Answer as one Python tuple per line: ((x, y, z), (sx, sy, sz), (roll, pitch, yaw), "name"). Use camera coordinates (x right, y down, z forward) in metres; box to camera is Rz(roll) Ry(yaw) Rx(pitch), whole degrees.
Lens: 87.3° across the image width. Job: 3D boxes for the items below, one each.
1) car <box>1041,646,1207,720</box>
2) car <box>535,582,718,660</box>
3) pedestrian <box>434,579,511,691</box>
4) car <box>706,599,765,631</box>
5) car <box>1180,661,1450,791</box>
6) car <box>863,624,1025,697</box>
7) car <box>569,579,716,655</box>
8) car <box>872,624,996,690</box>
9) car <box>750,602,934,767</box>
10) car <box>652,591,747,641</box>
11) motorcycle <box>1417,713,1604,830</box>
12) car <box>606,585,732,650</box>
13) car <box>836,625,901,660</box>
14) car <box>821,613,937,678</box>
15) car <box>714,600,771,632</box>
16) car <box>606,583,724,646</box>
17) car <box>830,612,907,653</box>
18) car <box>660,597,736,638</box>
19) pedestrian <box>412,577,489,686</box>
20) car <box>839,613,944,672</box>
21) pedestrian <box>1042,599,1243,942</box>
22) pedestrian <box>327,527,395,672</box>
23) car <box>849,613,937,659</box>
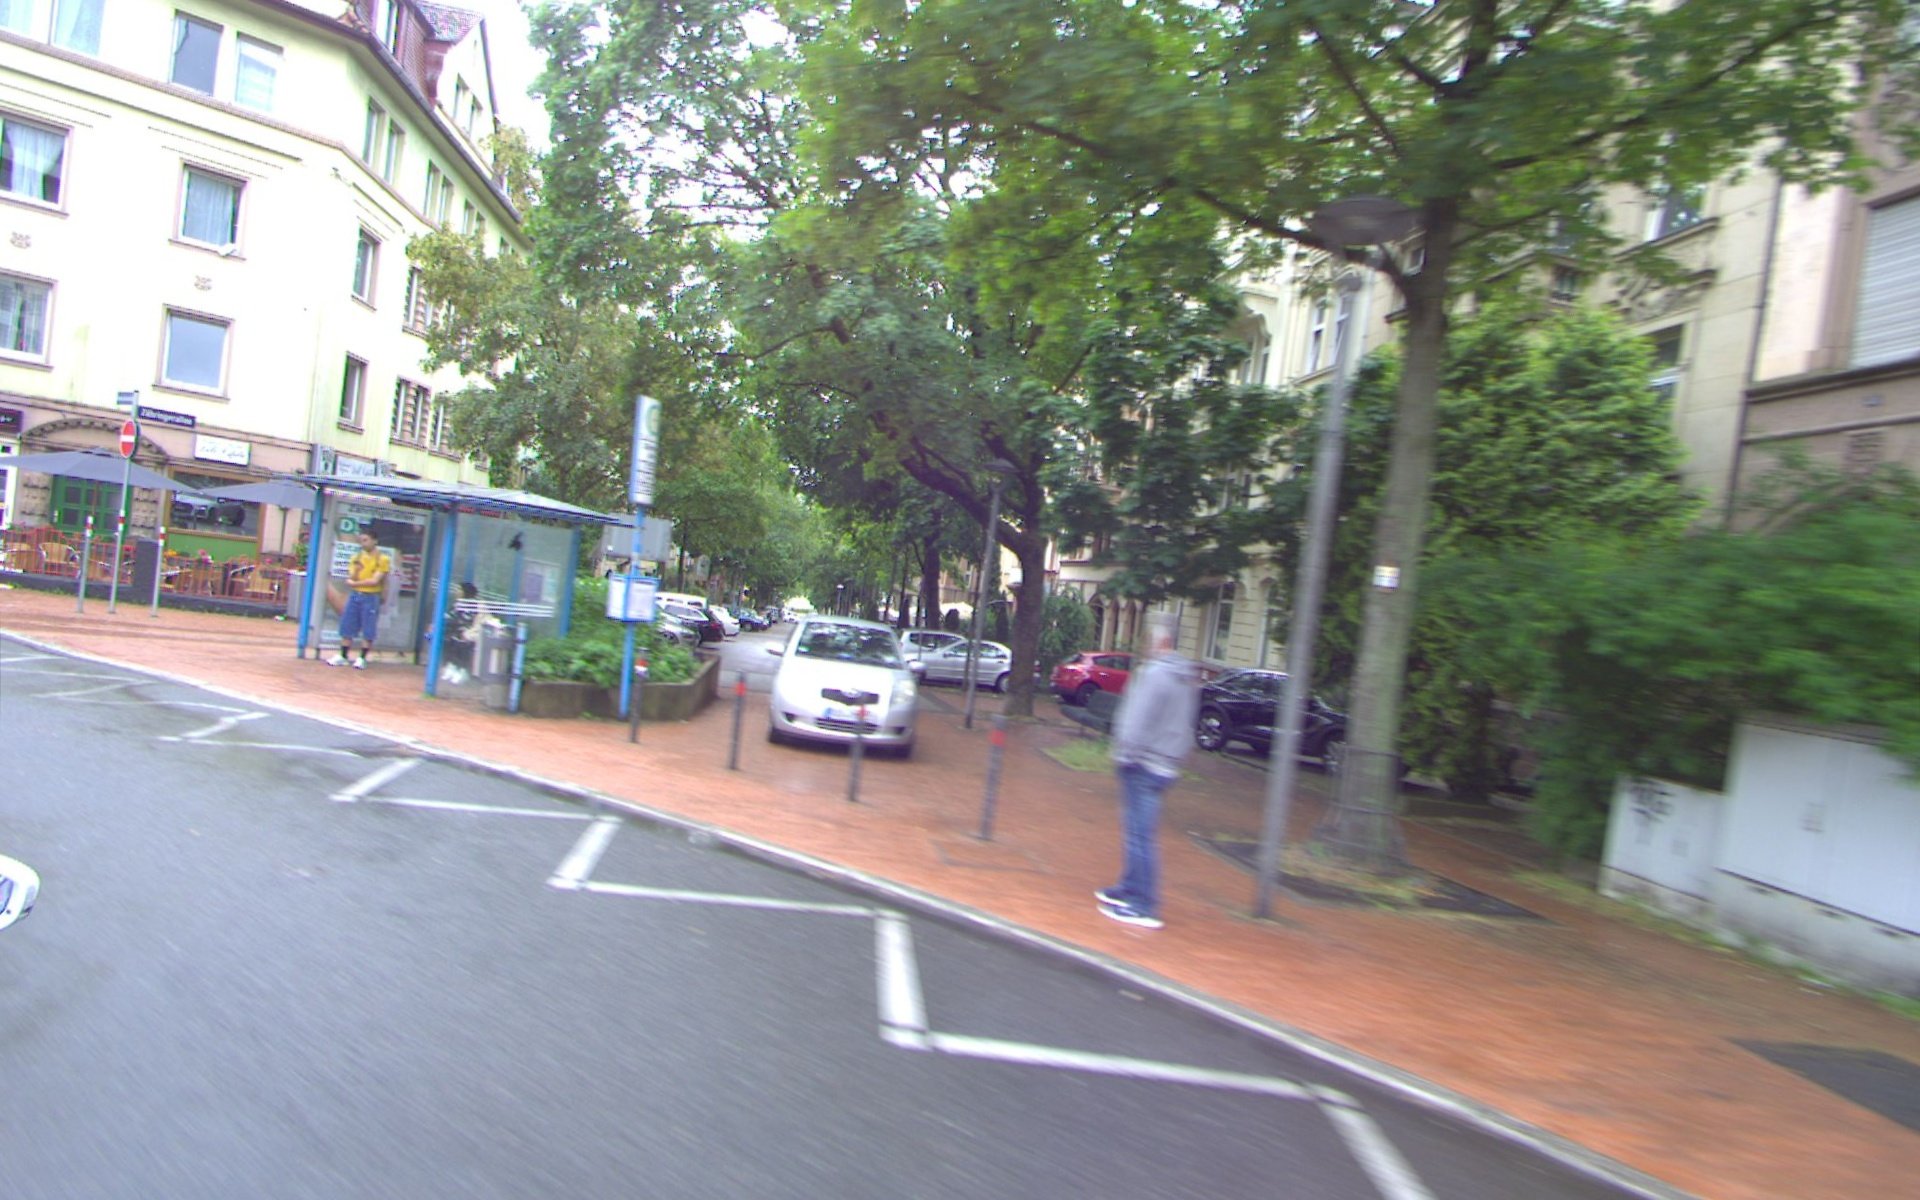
((4.380, 2.215, 27.140), (3.930, 1.547, 1.874), (5, 0, -9), "car")
((-9.396, 0.588, 28.673), (4.570, 1.546, 1.790), (8, -1, -9), "car")
((-6.060, 0.437, 12.498), (0.527, 1.295, 0.568), (7, 0, 42), "pedestrian")
((-16.001, 1.057, 71.755), (3.832, 1.769, 1.790), (8, -1, -9), "car")
((5.834, 2.051, 16.899), (1.758, 1.493, 3.810), (8, -1, -37), "car")
((-0.493, 1.694, 28.408), (4.262, 1.412, 1.705), (8, -1, -9), "car")
((-9.740, 0.526, 31.172), (3.933, 1.748, 1.790), (8, -1, -9), "car")
((-0.821, 1.719, 30.716), (3.442, 1.482, 1.588), (8, -1, -9), "car")
((-1.553, 0.942, 12.478), (1.742, 1.519, 3.670), (9, -2, -10), "car")
((-11.890, 0.733, 46.122), (3.832, 1.769, 1.790), (8, -1, -9), "car")
((7.700, 2.374, 14.194), (0.550, 1.203, 2.177), (8, -1, -37), "motorcycle")
((-10.298, 0.627, 35.811), (3.933, 1.748, 1.790), (8, -1, -9), "car")
((-5.430, 2.504, 59.674), (3.591, 1.554, 1.679), (8, -1, -9), "car")
((-2.803, 1.546, 34.796), (3.719, 1.686, 1.678), (8, -1, -6), "car")
((-16.116, 1.177, 74.580), (3.832, 1.769, 1.790), (8, -1, -9), "car")
((-11.131, 0.531, 38.210), (3.933, 1.810, 1.790), (8, -1, -9), "car")
((-4.582, 1.611, 50.095), (3.591, 1.554, 1.679), (8, -1, -9), "car")
((-14.800, 0.979, 56.969), (3.832, 1.769, 1.790), (8, -1, -9), "car")
((-6.522, 0.404, 12.876), (0.610, 1.295, 0.568), (7, 0, 43), "pedestrian")
((-2.589, 1.564, 37.616), (3.591, 1.686, 1.588), (8, -1, -9), "car")
((1.016, 0.922, 5.681), (0.568, 1.754, 0.725), (7, 0, -33), "pedestrian")
((-7.802, -0.013, 13.117), (0.554, 1.796, 0.541), (7, 0, -31), "pedestrian")
((-3.002, 1.588, 44.724), (3.591, 1.554, 1.679), (8, -1, -9), "car")
